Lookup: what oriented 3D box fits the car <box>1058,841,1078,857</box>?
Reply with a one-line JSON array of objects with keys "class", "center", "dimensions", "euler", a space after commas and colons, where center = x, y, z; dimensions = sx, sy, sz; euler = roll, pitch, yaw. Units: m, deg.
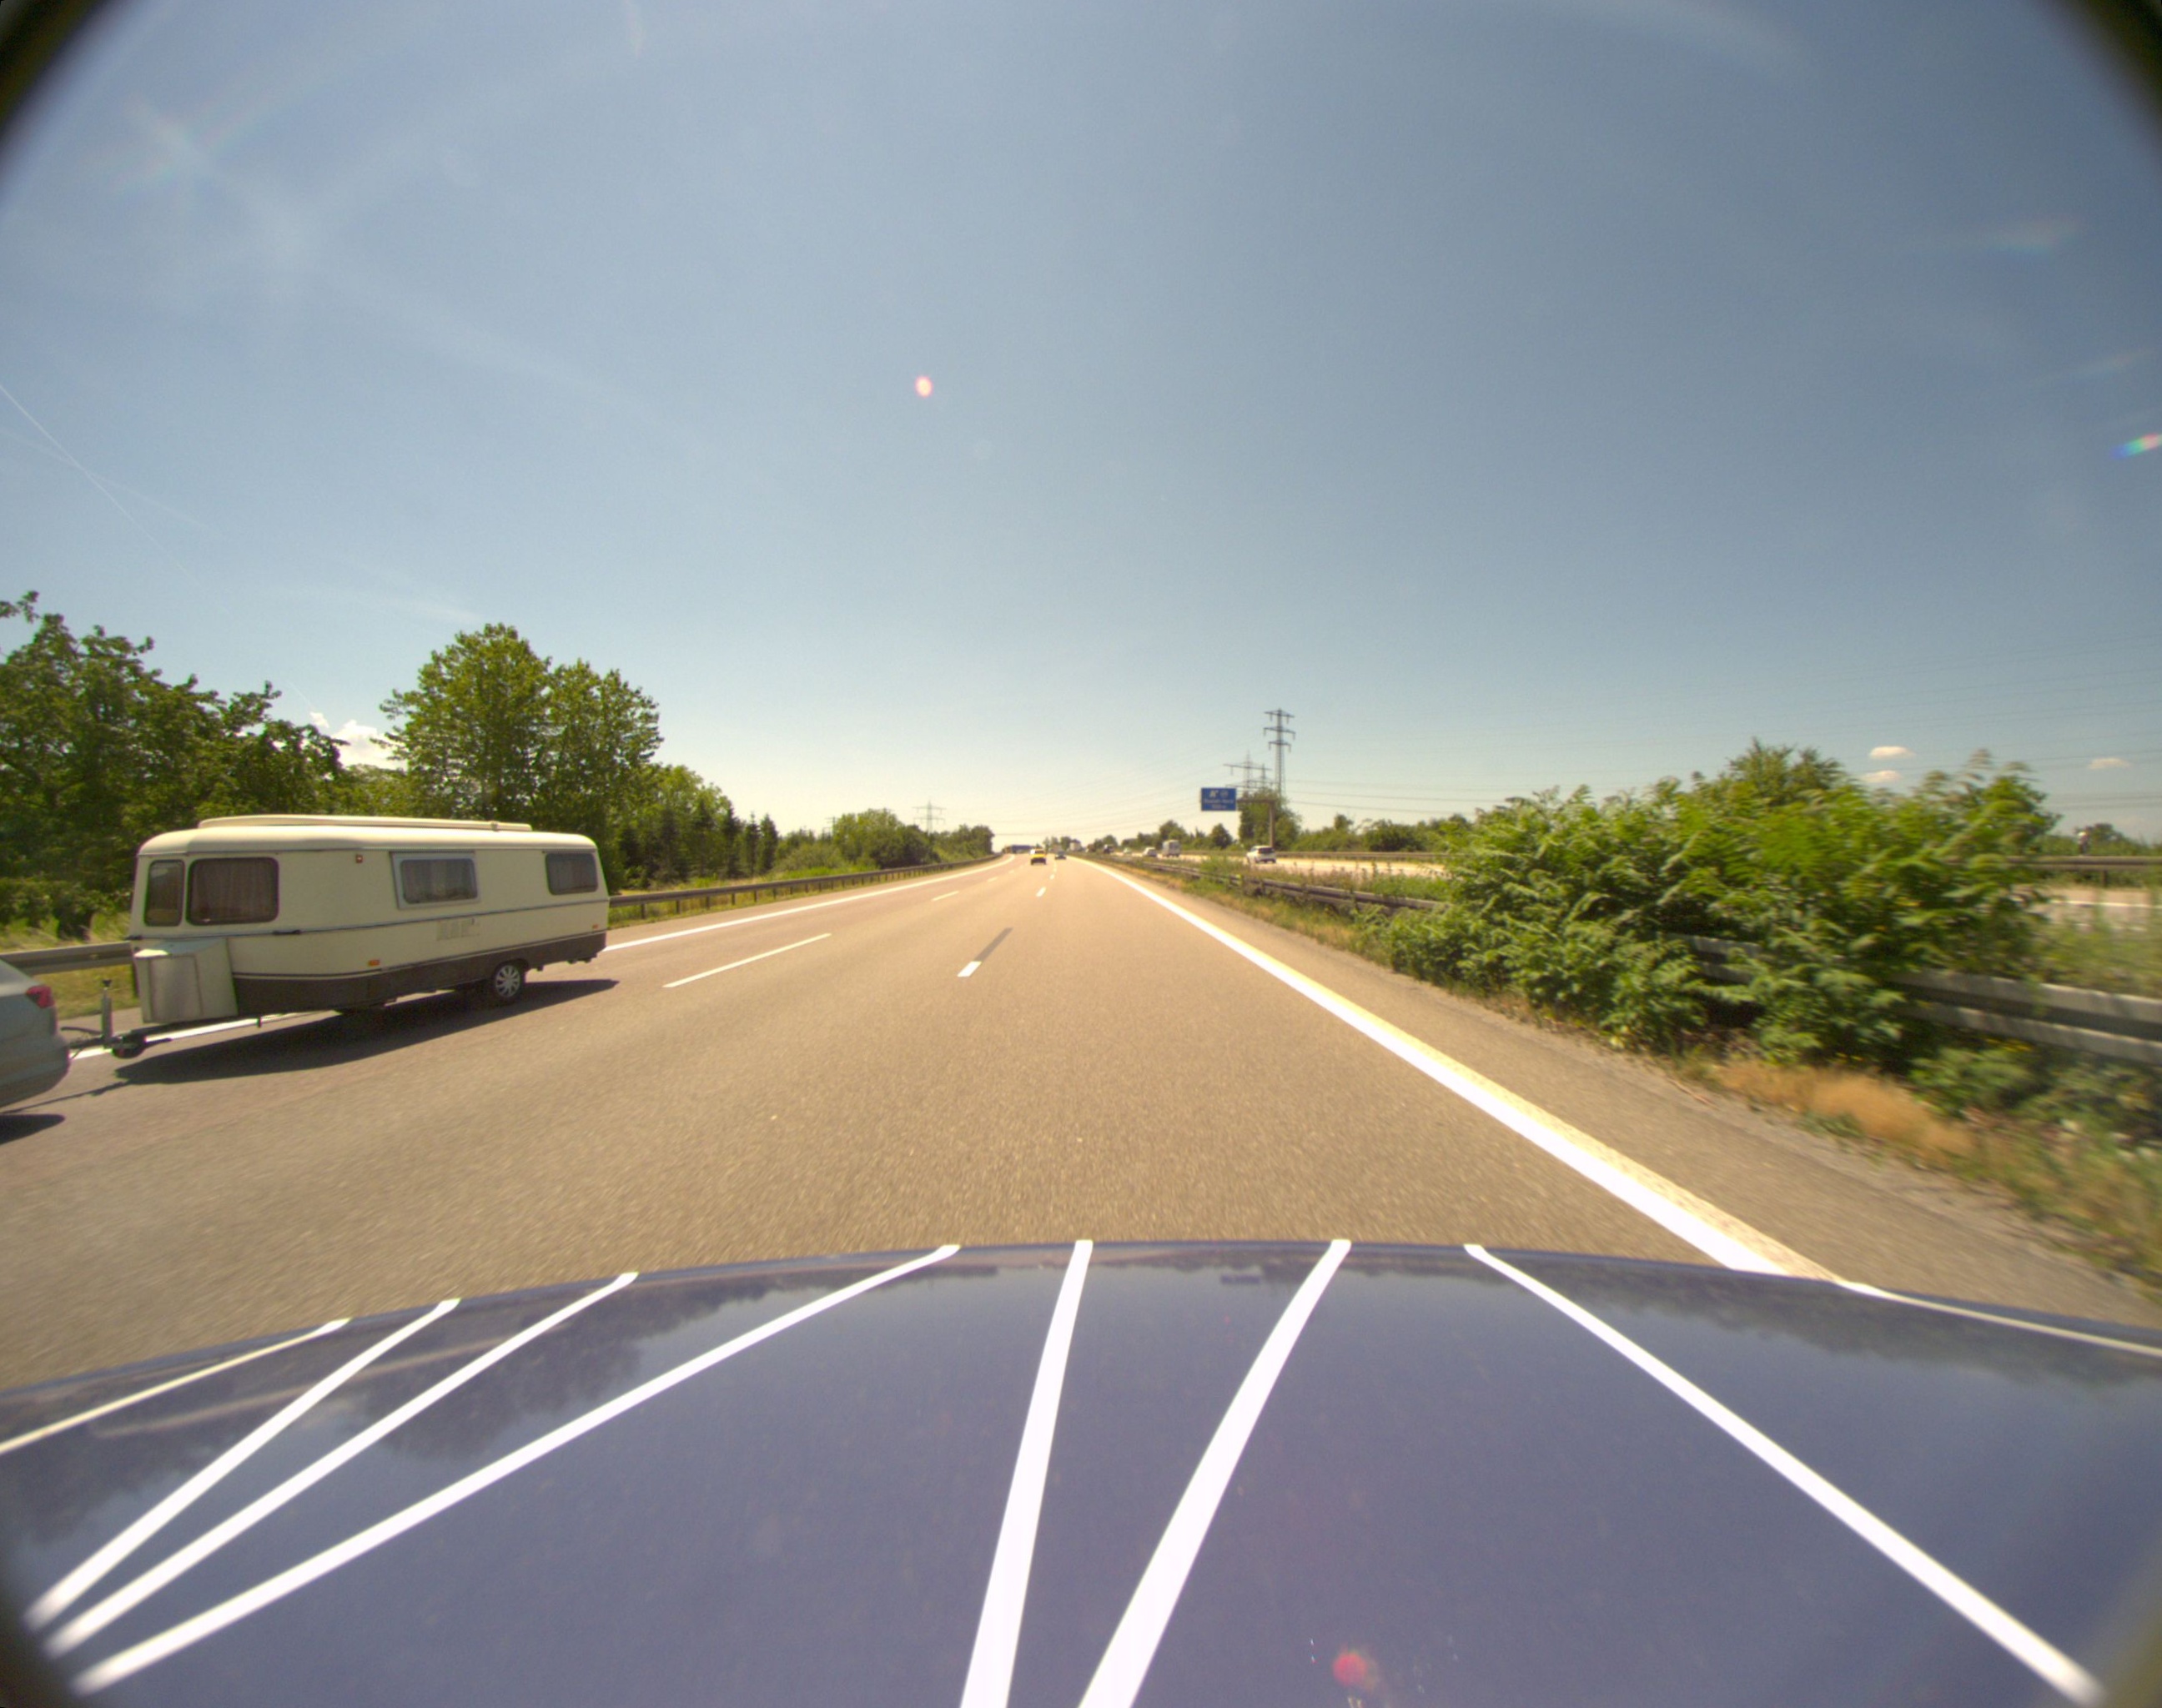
[{"class": "car", "center": [-2.247, -0.844, 130.324], "dimensions": [2.688, 2.509, 5.963], "euler": [0, -1, -8]}]

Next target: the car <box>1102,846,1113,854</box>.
[{"class": "car", "center": [6.293, -0.983, 181.892], "dimensions": [1.999, 1.688, 4.604], "euler": [-2, 1, -4]}]

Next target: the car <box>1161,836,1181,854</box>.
[{"class": "car", "center": [14.430, -1.403, 122.175], "dimensions": [1.999, 2.670, 7.179], "euler": [-2, 1, -3]}]

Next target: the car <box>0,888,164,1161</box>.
[{"class": "car", "center": [-7.606, 1.045, 2.715], "dimensions": [2.050, 1.648, 5.510], "euler": [-1, -1, -1]}]

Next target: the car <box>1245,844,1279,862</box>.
[{"class": "car", "center": [16.267, -0.112, 68.496], "dimensions": [1.752, 1.531, 4.825], "euler": [-3, 1, -2]}]

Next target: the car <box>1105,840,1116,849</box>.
[{"class": "car", "center": [8.304, -2.811, 215.415], "dimensions": [2.138, 2.463, 6.328], "euler": [-2, 1, -7]}]

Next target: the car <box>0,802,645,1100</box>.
[{"class": "car", "center": [-7.717, 0.796, 8.601], "dimensions": [2.448, 2.308, 5.322], "euler": [0, -1, 1]}]

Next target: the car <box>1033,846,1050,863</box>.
[{"class": "car", "center": [-4.913, 0.112, 94.643], "dimensions": [1.956, 2.001, 5.432], "euler": [0, -1, -3]}]

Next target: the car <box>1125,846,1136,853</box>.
[{"class": "car", "center": [11.488, -1.120, 175.855], "dimensions": [1.999, 1.449, 4.086], "euler": [-2, 1, -2]}]

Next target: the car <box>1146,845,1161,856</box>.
[{"class": "car", "center": [11.320, -0.547, 118.757], "dimensions": [1.793, 1.670, 4.900], "euler": [-2, 0, -2]}]

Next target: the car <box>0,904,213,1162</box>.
[{"class": "car", "center": [-7.624, 1.181, 3.088], "dimensions": [1.891, 1.506, 5.380], "euler": [-3, 0, 1]}]

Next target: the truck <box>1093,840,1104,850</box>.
[{"class": "truck", "center": [5.659, -2.861, 248.119], "dimensions": [2.529, 3.134, 9.661], "euler": [-2, 1, -5]}]
